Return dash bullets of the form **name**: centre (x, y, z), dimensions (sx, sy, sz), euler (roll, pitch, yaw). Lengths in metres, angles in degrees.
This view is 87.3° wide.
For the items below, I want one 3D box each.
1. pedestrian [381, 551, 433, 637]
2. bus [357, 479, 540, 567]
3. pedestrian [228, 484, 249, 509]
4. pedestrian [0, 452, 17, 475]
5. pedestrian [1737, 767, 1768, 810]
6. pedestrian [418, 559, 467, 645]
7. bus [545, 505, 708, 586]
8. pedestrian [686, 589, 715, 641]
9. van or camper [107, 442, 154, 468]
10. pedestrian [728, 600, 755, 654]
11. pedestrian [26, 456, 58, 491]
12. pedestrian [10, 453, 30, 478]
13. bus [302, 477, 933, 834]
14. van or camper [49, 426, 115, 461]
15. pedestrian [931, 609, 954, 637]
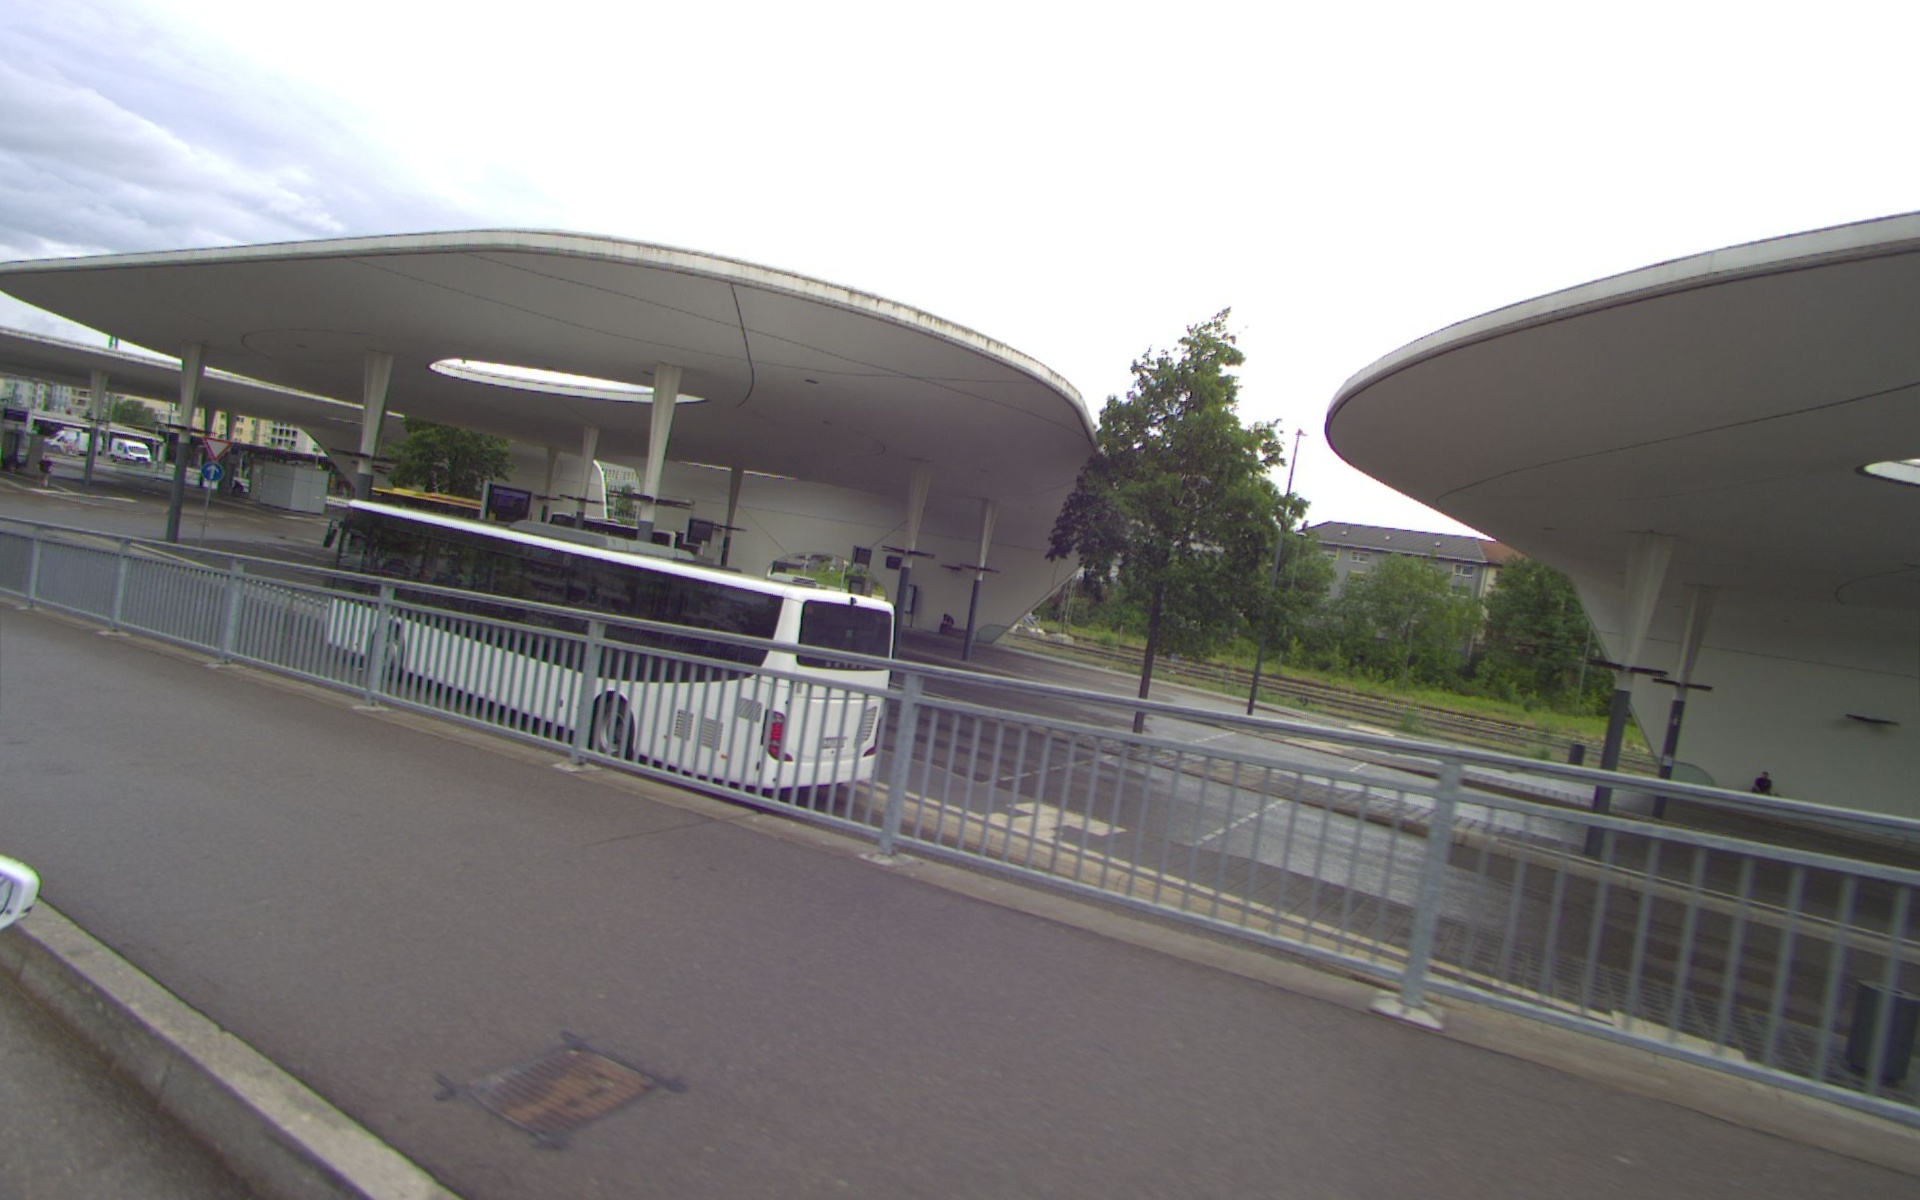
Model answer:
- **pedestrian**: centre (-12.921, -0.143, 23.513), dimensions (0.638, 1.910, 0.585), euler (10, 2, -5)
- **bus**: centre (-28.130, -4.274, 54.986), dimensions (11.935, 3.300, 2.791), euler (9, 3, 31)
- **pedestrian**: centre (-53.285, -7.651, 74.256), dimensions (0.892, 1.605, 0.796), euler (9, 1, 26)
- **pedestrian**: centre (-59.939, -8.588, 63.288), dimensions (0.789, 1.243, 0.626), euler (5, 4, -41)
- **pedestrian**: centre (27.639, 6.577, 35.095), dimensions (0.701, 1.340, 0.799), euler (6, -2, 37)
- **pedestrian**: centre (-12.267, 0.046, 23.841), dimensions (0.637, 1.929, 0.585), euler (9, 3, -1)
- **bus**: centre (-20.812, -3.452, 62.256), dimensions (11.771, 3.302, 2.466), euler (11, 5, 32)
- **pedestrian**: centre (-8.831, 0.516, 34.199), dimensions (0.548, 1.677, 0.568), euler (11, 5, 38)
- **van or camper**: centre (-86.666, -15.179, 105.115), dimensions (5.389, 2.128, 1.997), euler (8, -1, 32)
- **pedestrian**: centre (-7.210, 0.884, 33.231), dimensions (0.629, 1.677, 0.641), euler (7, 4, -8)
- **pedestrian**: centre (-49.677, -6.825, 54.453), dimensions (1.002, 1.707, 0.718), euler (8, 5, 6)
- **pedestrian**: centre (-58.223, -8.316, 62.333), dimensions (0.789, 1.396, 0.626), euler (5, 5, -41)
- **bus**: centre (-6.536, 0.478, 17.323), dimensions (12.217, 3.401, 2.851), euler (11, 0, 32)
- **van or camper**: centre (-92.968, -16.540, 106.534), dimensions (2.083, 2.587, 4.617), euler (8, -1, 31)
- **pedestrian**: centre (-0.938, 1.202, 53.414), dimensions (0.789, 1.340, 0.710), euler (6, -2, 35)
